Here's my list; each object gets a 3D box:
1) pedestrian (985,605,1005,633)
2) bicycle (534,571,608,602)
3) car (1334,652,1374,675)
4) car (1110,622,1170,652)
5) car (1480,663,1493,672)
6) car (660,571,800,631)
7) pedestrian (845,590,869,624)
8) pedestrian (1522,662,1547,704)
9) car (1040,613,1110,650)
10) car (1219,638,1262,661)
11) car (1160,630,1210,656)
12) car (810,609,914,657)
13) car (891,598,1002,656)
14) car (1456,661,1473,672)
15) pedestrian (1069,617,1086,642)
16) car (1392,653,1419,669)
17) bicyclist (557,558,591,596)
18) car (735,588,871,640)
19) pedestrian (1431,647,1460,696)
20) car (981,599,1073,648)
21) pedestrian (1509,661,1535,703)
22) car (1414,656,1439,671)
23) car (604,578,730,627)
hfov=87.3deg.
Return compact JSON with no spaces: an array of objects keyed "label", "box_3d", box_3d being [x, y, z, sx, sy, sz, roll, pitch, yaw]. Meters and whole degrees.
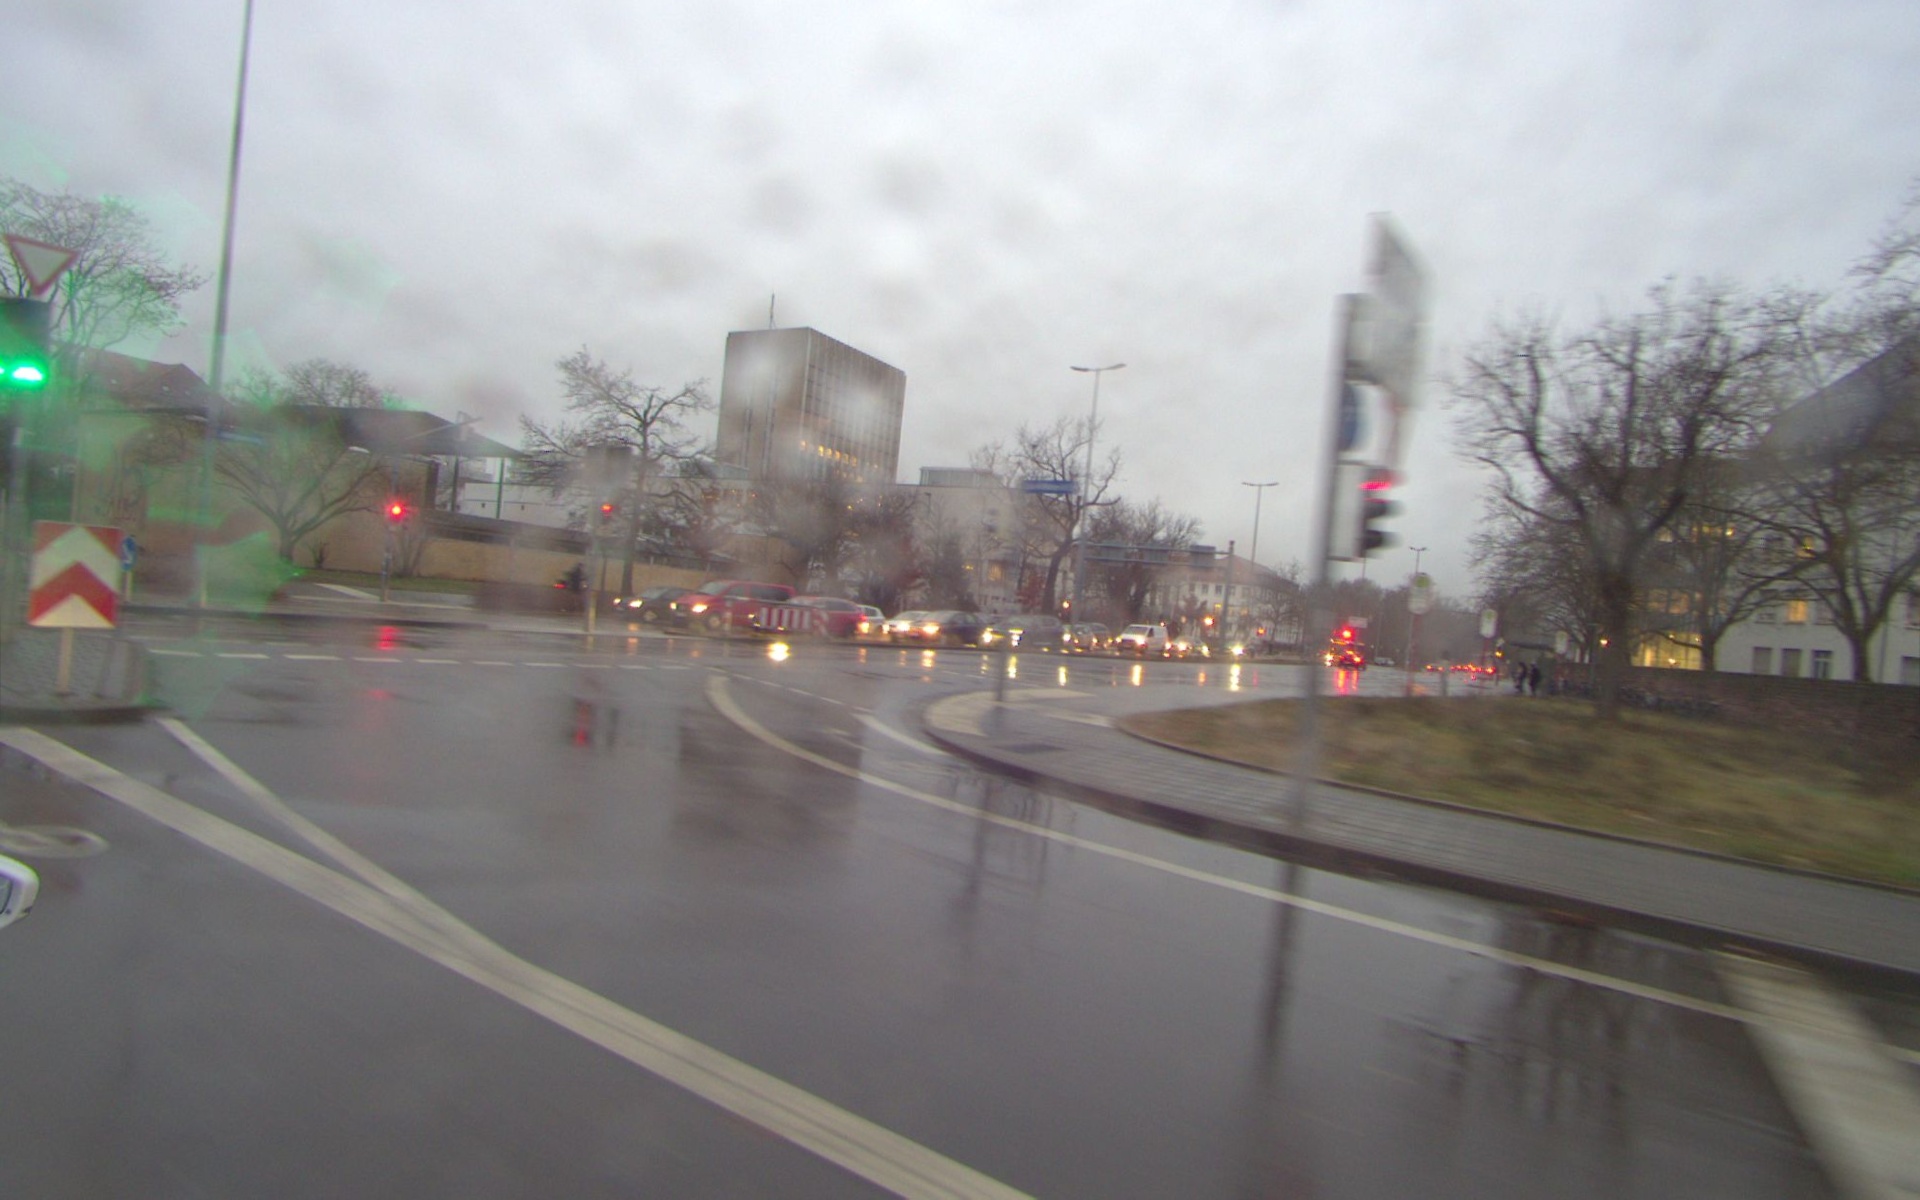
[{"label":"pedestrian","box_3d":[2.425,1.325,70.381,0.919,1.849,0.831,7,2,35]},{"label":"bicycle","box_3d":[-16.407,-0.553,42.530,0.782,1.028,2.893,7,1,35]},{"label":"car","box_3d":[33.919,5.516,86.572,1.969,1.587,4.456,8,0,36]},{"label":"car","box_3d":[11.939,2.473,66.405,1.968,1.588,4.745,8,1,35]},{"label":"car","box_3d":[108.981,13.928,208.255,1.667,1.573,3.560,7,1,36]},{"label":"car","box_3d":[-8.490,0.082,37.518,1.968,1.772,4.929,7,1,35]},{"label":"pedestrian","box_3d":[-6.048,0.423,59.132,0.919,1.849,0.831,7,2,35]},{"label":"pedestrian","box_3d":[27.108,3.904,47.457,0.795,1.854,0.945,7,2,31]},{"label":"car","box_3d":[6.873,1.914,59.814,1.968,1.588,4.455,17,7,34]},{"label":"car","box_3d":[23.143,4.061,82.907,1.968,1.588,4.455,8,1,35]},{"label":"car","box_3d":[16.740,3.231,74.623,1.968,1.588,4.455,8,1,35]},{"label":"car","box_3d":[-4.183,1.465,43.625,1.968,1.772,4.455,7,1,35]},{"label":"car","box_3d":[-0.474,1.122,40.428,1.968,1.773,4.455,14,5,34]},{"label":"car","box_3d":[94.007,12.370,187.537,1.969,1.587,4.456,8,0,36]},{"label":"pedestrian","box_3d":[9.345,2.374,79.955,0.919,1.849,0.831,7,2,35]},{"label":"car","box_3d":[53.292,7.305,120.359,1.968,1.587,4.457,8,0,35]},{"label":"bicyclist","box_3d":[-16.342,-0.960,42.555,0.756,1.509,0.990,6,2,36]},{"label":"car","box_3d":[-5.226,0.500,34.023,1.901,1.393,4.483,7,1,35]},{"label":"pedestrian","box_3d":[19.474,2.854,40.354,0.795,1.854,0.945,7,2,31]},{"label":"car","box_3d":[3.073,1.077,45.264,1.968,1.772,4.455,10,3,35]},{"label":"pedestrian","box_3d":[25.951,3.774,46.450,0.795,1.854,0.945,7,2,31]},{"label":"car","box_3d":[59.835,8.189,129.065,1.969,1.587,4.456,8,0,36]},{"label":"car","box_3d":[-11.229,0.145,38.852,1.747,1.505,4.455,7,1,35]}]
